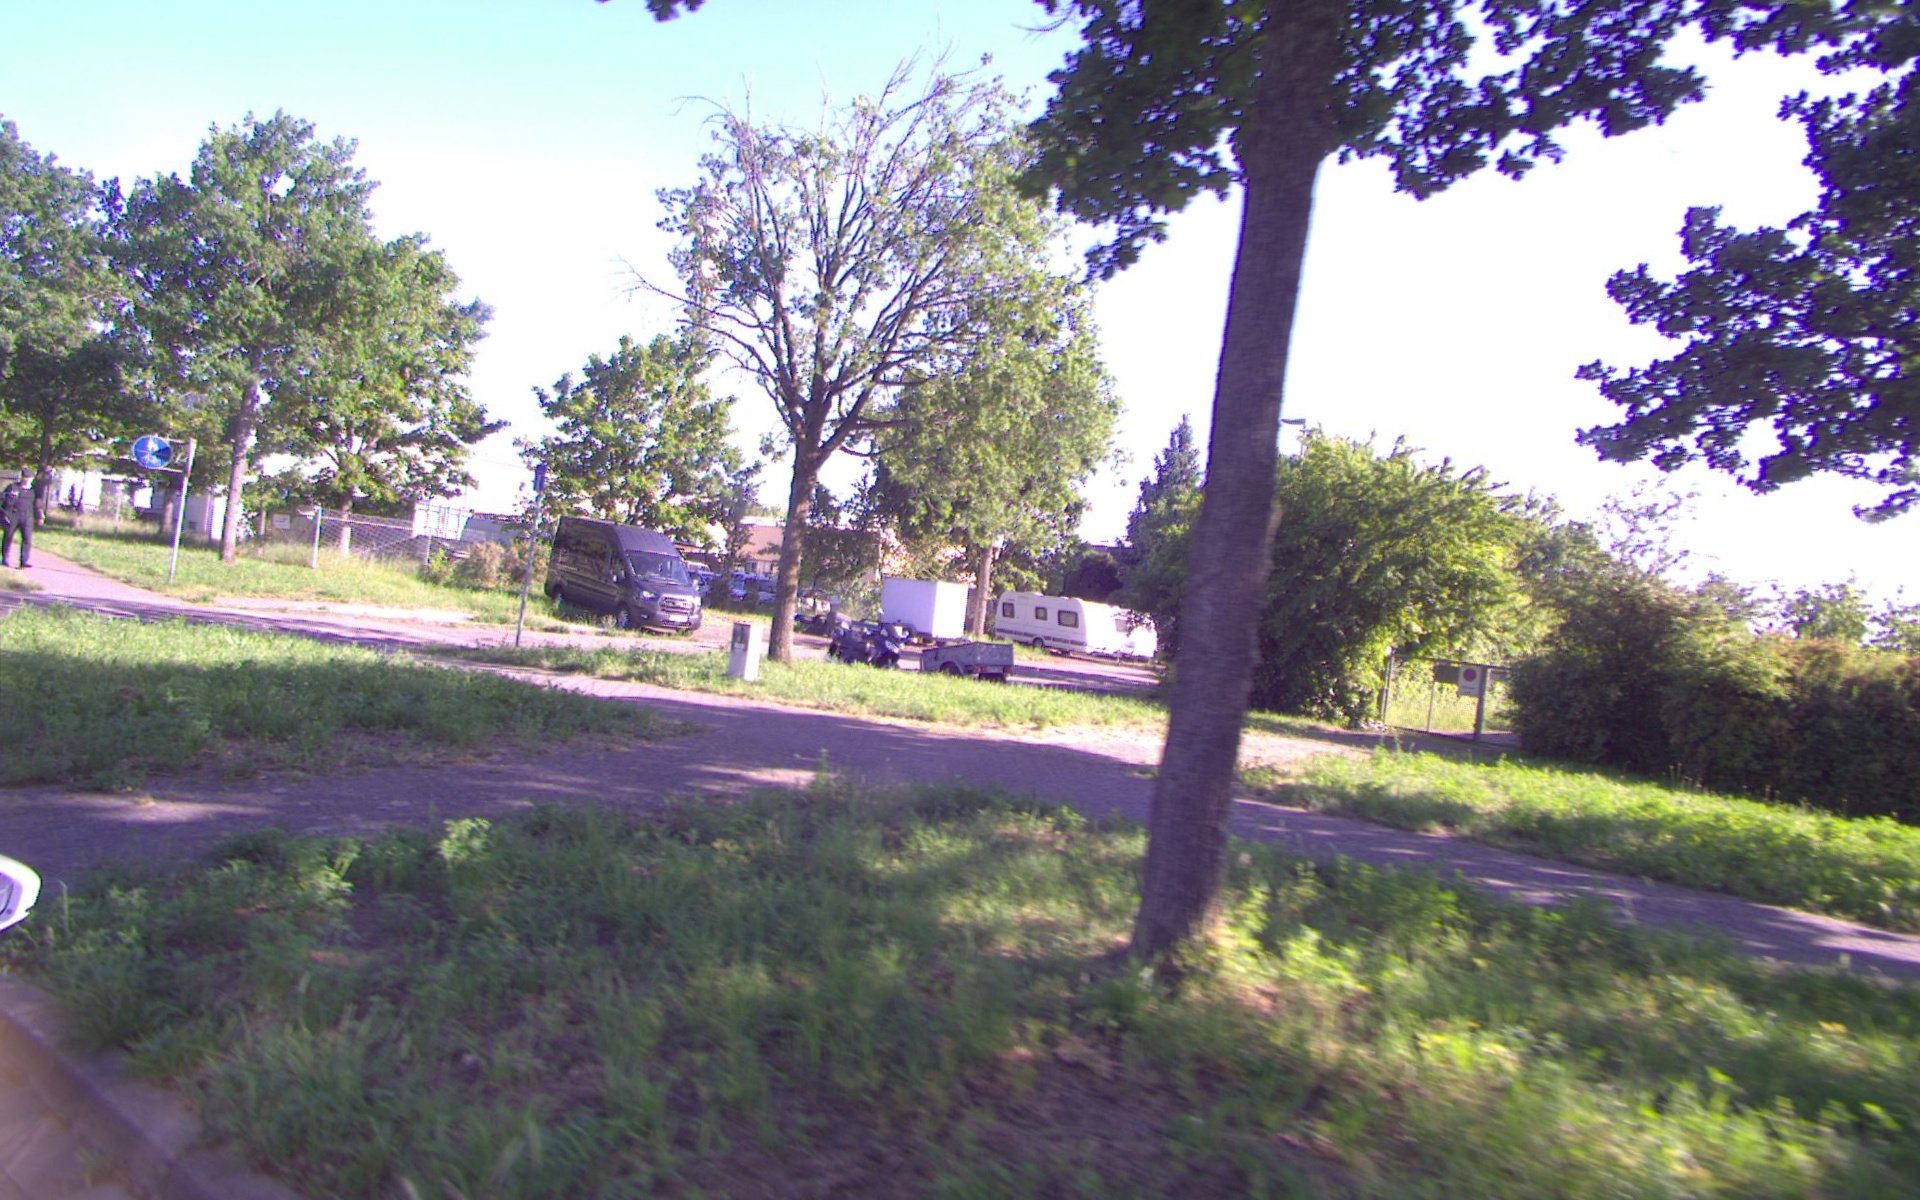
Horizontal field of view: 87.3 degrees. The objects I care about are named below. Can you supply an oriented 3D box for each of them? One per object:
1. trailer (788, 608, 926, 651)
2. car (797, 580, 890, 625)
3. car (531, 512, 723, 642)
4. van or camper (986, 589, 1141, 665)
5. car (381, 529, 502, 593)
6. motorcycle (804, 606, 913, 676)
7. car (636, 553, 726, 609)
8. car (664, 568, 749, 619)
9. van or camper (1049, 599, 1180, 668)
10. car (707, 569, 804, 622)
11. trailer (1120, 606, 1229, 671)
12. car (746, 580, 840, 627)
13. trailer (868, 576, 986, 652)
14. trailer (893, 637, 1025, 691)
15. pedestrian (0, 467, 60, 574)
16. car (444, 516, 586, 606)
[{"bbox_3d":[-3.675,1.032,35.299,4.755,0.659,2.224,10,2,43],"label":"trailer"},{"bbox_3d":[-5.508,0.113,47.363,3.940,1.612,1.992,7,0,38],"label":"car"},{"bbox_3d":[-9.198,-0.696,27.456,5.887,2.597,2.082,11,1,42],"label":"car"},{"bbox_3d":[4.516,1.158,44.999,6.686,2.607,2.176,7,0,43],"label":"van or camper"},{"bbox_3d":[-17.803,-1.338,34.539,3.536,1.685,2.008,7,0,31],"label":"car"},{"bbox_3d":[-2.039,0.794,19.913,2.375,1.245,0.661,1,-3,42],"label":"motorcycle"},{"bbox_3d":[-14.842,-1.026,53.374,4.942,2.087,2.082,11,1,42],"label":"car"},{"bbox_3d":[-10.559,-0.285,41.750,1.826,1.660,3.957,7,0,-38],"label":"car"},{"bbox_3d":[7.429,1.569,48.917,5.839,2.607,2.176,7,0,43],"label":"van or camper"},{"bbox_3d":[-9.022,-0.212,44.280,3.940,1.846,1.992,7,0,38],"label":"car"},{"bbox_3d":[10.663,1.918,50.175,4.576,2.607,2.179,7,0,39],"label":"trailer"},{"bbox_3d":[-7.652,0.163,46.059,3.940,1.612,1.992,7,0,38],"label":"car"},{"bbox_3d":[-1.245,0.505,37.352,3.738,2.336,2.185,7,0,43],"label":"trailer"},{"bbox_3d":[-0.024,1.243,19.634,2.028,0.878,1.576,1,-4,43],"label":"trailer"},{"bbox_3d":[-17.576,-1.487,18.820,0.853,1.835,0.726,10,2,30],"label":"pedestrian"},{"bbox_3d":[-16.240,-1.442,36.645,4.769,2.676,2.163,7,1,31],"label":"car"}]
